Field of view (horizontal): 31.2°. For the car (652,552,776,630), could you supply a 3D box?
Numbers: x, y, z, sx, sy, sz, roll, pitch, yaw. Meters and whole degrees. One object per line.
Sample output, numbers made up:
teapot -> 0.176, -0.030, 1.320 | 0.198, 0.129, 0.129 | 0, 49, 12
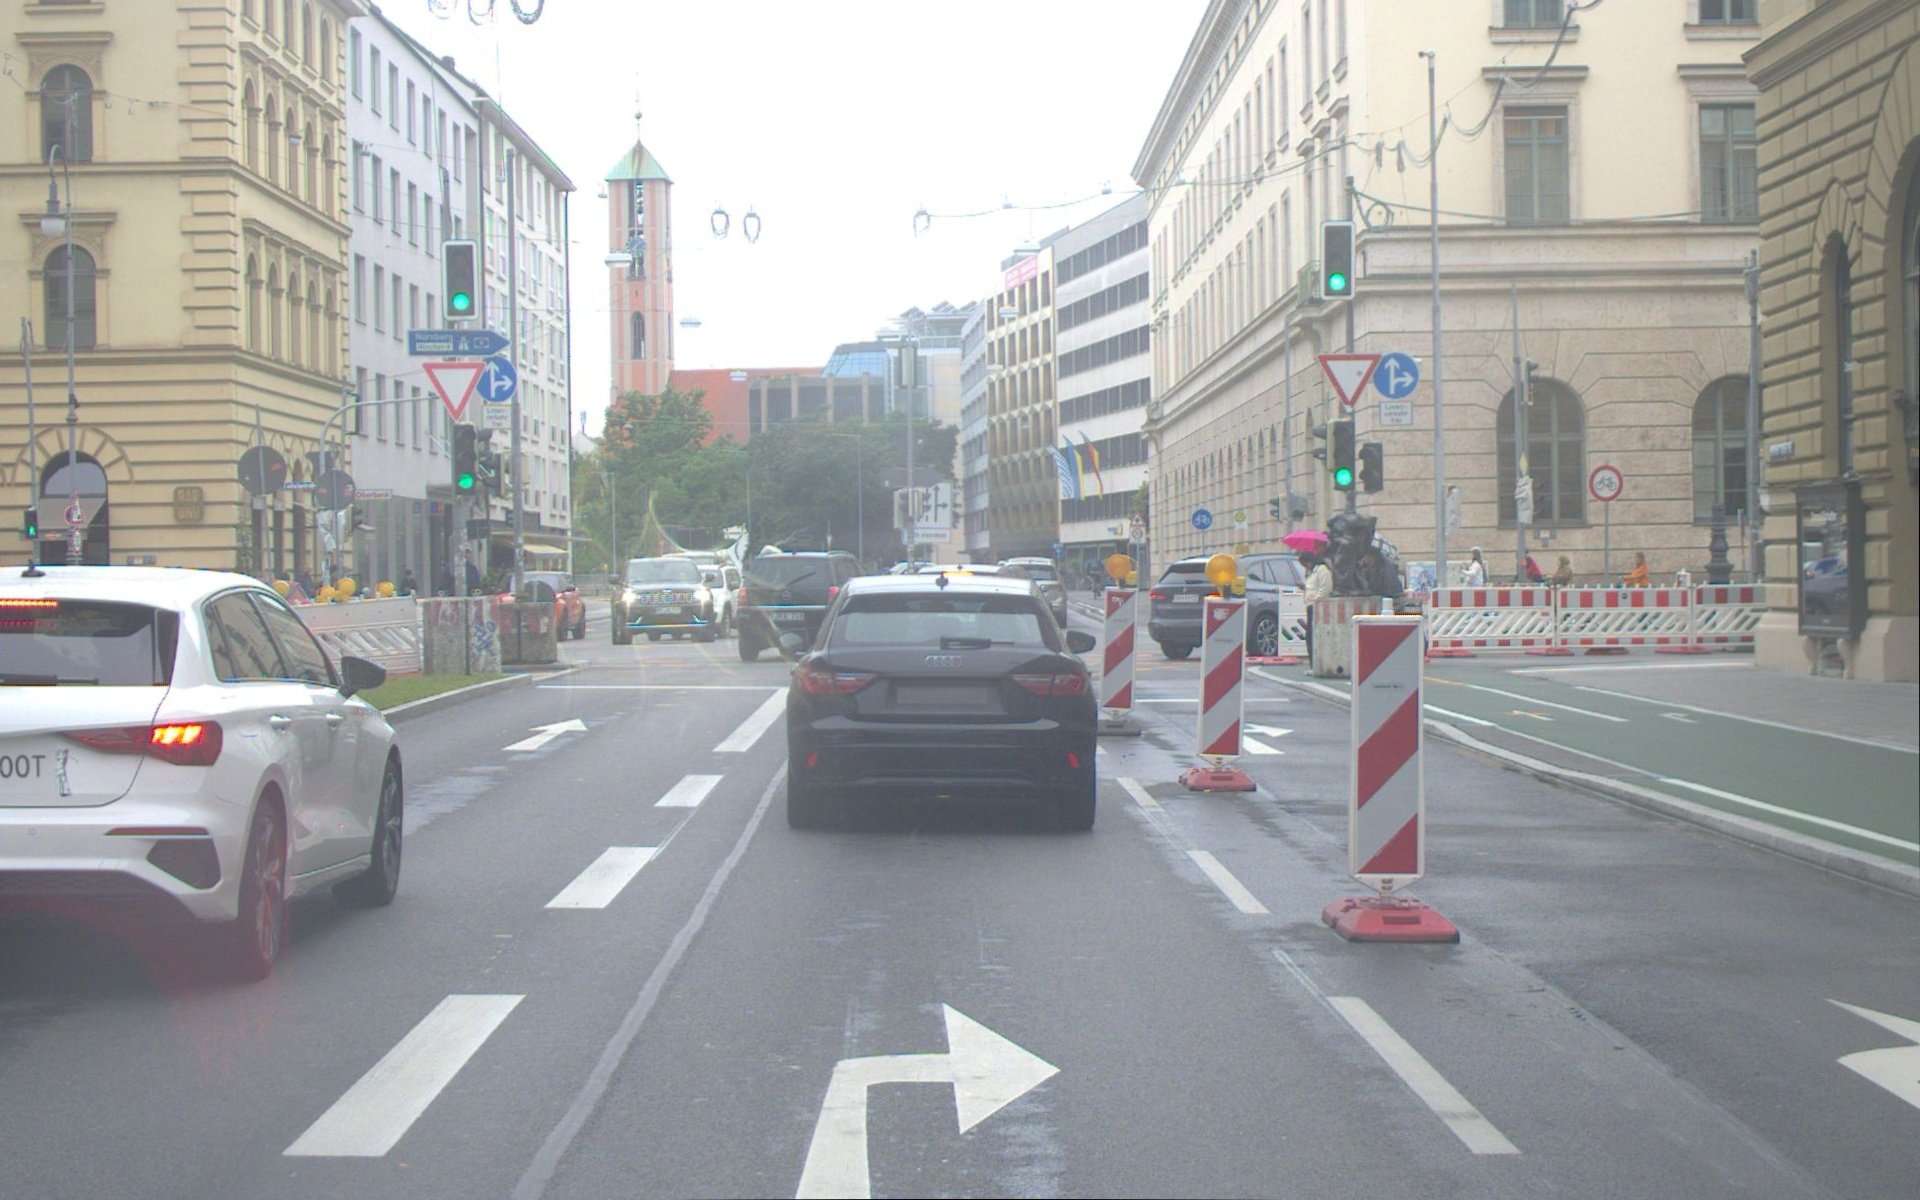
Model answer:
car -> -5.500, -0.231, 77.273 | 1.794, 1.672, 4.231 | -1, 1, 10

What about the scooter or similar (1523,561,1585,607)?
scooter or similar -> 12.534, -0.335, 72.563 | 1.211, 0.961, 0.588 | 0, 1, 1

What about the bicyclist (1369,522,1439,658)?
bicyclist -> 6.089, -0.144, 47.193 | 0.566, 1.847, 0.799 | 0, 1, -30

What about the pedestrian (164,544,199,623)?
pedestrian -> -17.587, -0.378, 77.655 | 0.733, 1.766, 0.739 | 0, 1, -10

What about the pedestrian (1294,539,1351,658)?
pedestrian -> 4.824, -0.023, 45.719 | 0.702, 1.562, 0.541 | 1, 1, 2

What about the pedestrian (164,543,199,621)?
pedestrian -> -17.748, -0.403, 78.385 | 0.733, 1.766, 0.739 | 0, 1, -10

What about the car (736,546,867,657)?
car -> -2.377, -0.009, 52.287 | 1.865, 1.596, 3.851 | -1, 1, -1

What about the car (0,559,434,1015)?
car -> -3.268, 0.573, 13.219 | 1.813, 1.420, 4.452 | 1, 1, 0

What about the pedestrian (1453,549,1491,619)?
pedestrian -> 11.523, -0.366, 77.416 | 0.817, 1.552, 0.667 | 1, 1, 7

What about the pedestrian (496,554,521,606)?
pedestrian -> -15.443, -0.694, 117.605 | 0.737, 1.766, 0.736 | 0, 1, -1

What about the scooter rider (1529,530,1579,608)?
scooter rider -> 12.532, -0.654, 72.559 | 0.932, 1.617, 0.592 | 0, 1, 1

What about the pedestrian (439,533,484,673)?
pedestrian -> -6.310, 0.031, 43.476 | 0.512, 1.737, 1.043 | -1, 1, -10

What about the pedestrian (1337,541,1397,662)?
pedestrian -> 5.300, 0.014, 44.822 | 0.702, 1.562, 0.682 | 1, 1, 2

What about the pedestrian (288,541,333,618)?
pedestrian -> -15.004, -0.468, 79.415 | 0.734, 1.766, 0.738 | 1, 1, 21

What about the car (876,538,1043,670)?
car -> 0.038, 0.019, 44.546 | 1.769, 1.611, 3.999 | 1, 1, 6

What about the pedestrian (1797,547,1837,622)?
pedestrian -> 19.532, -0.352, 78.348 | 0.715, 1.688, 0.820 | 0, 1, 1

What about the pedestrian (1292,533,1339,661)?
pedestrian -> 4.515, -0.045, 43.735 | 0.531, 1.614, 0.674 | 1, 1, 2

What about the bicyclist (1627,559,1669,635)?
bicyclist -> 14.743, -0.071, 73.682 | 0.744, 1.609, 0.795 | 0, 1, 2

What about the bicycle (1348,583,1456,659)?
bicycle -> 6.063, 0.283, 47.237 | 0.585, 1.008, 1.657 | 0, 1, -30

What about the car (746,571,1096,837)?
car -> -0.234, 0.539, 20.337 | 1.863, 1.383, 4.000 | 0, 1, -1
